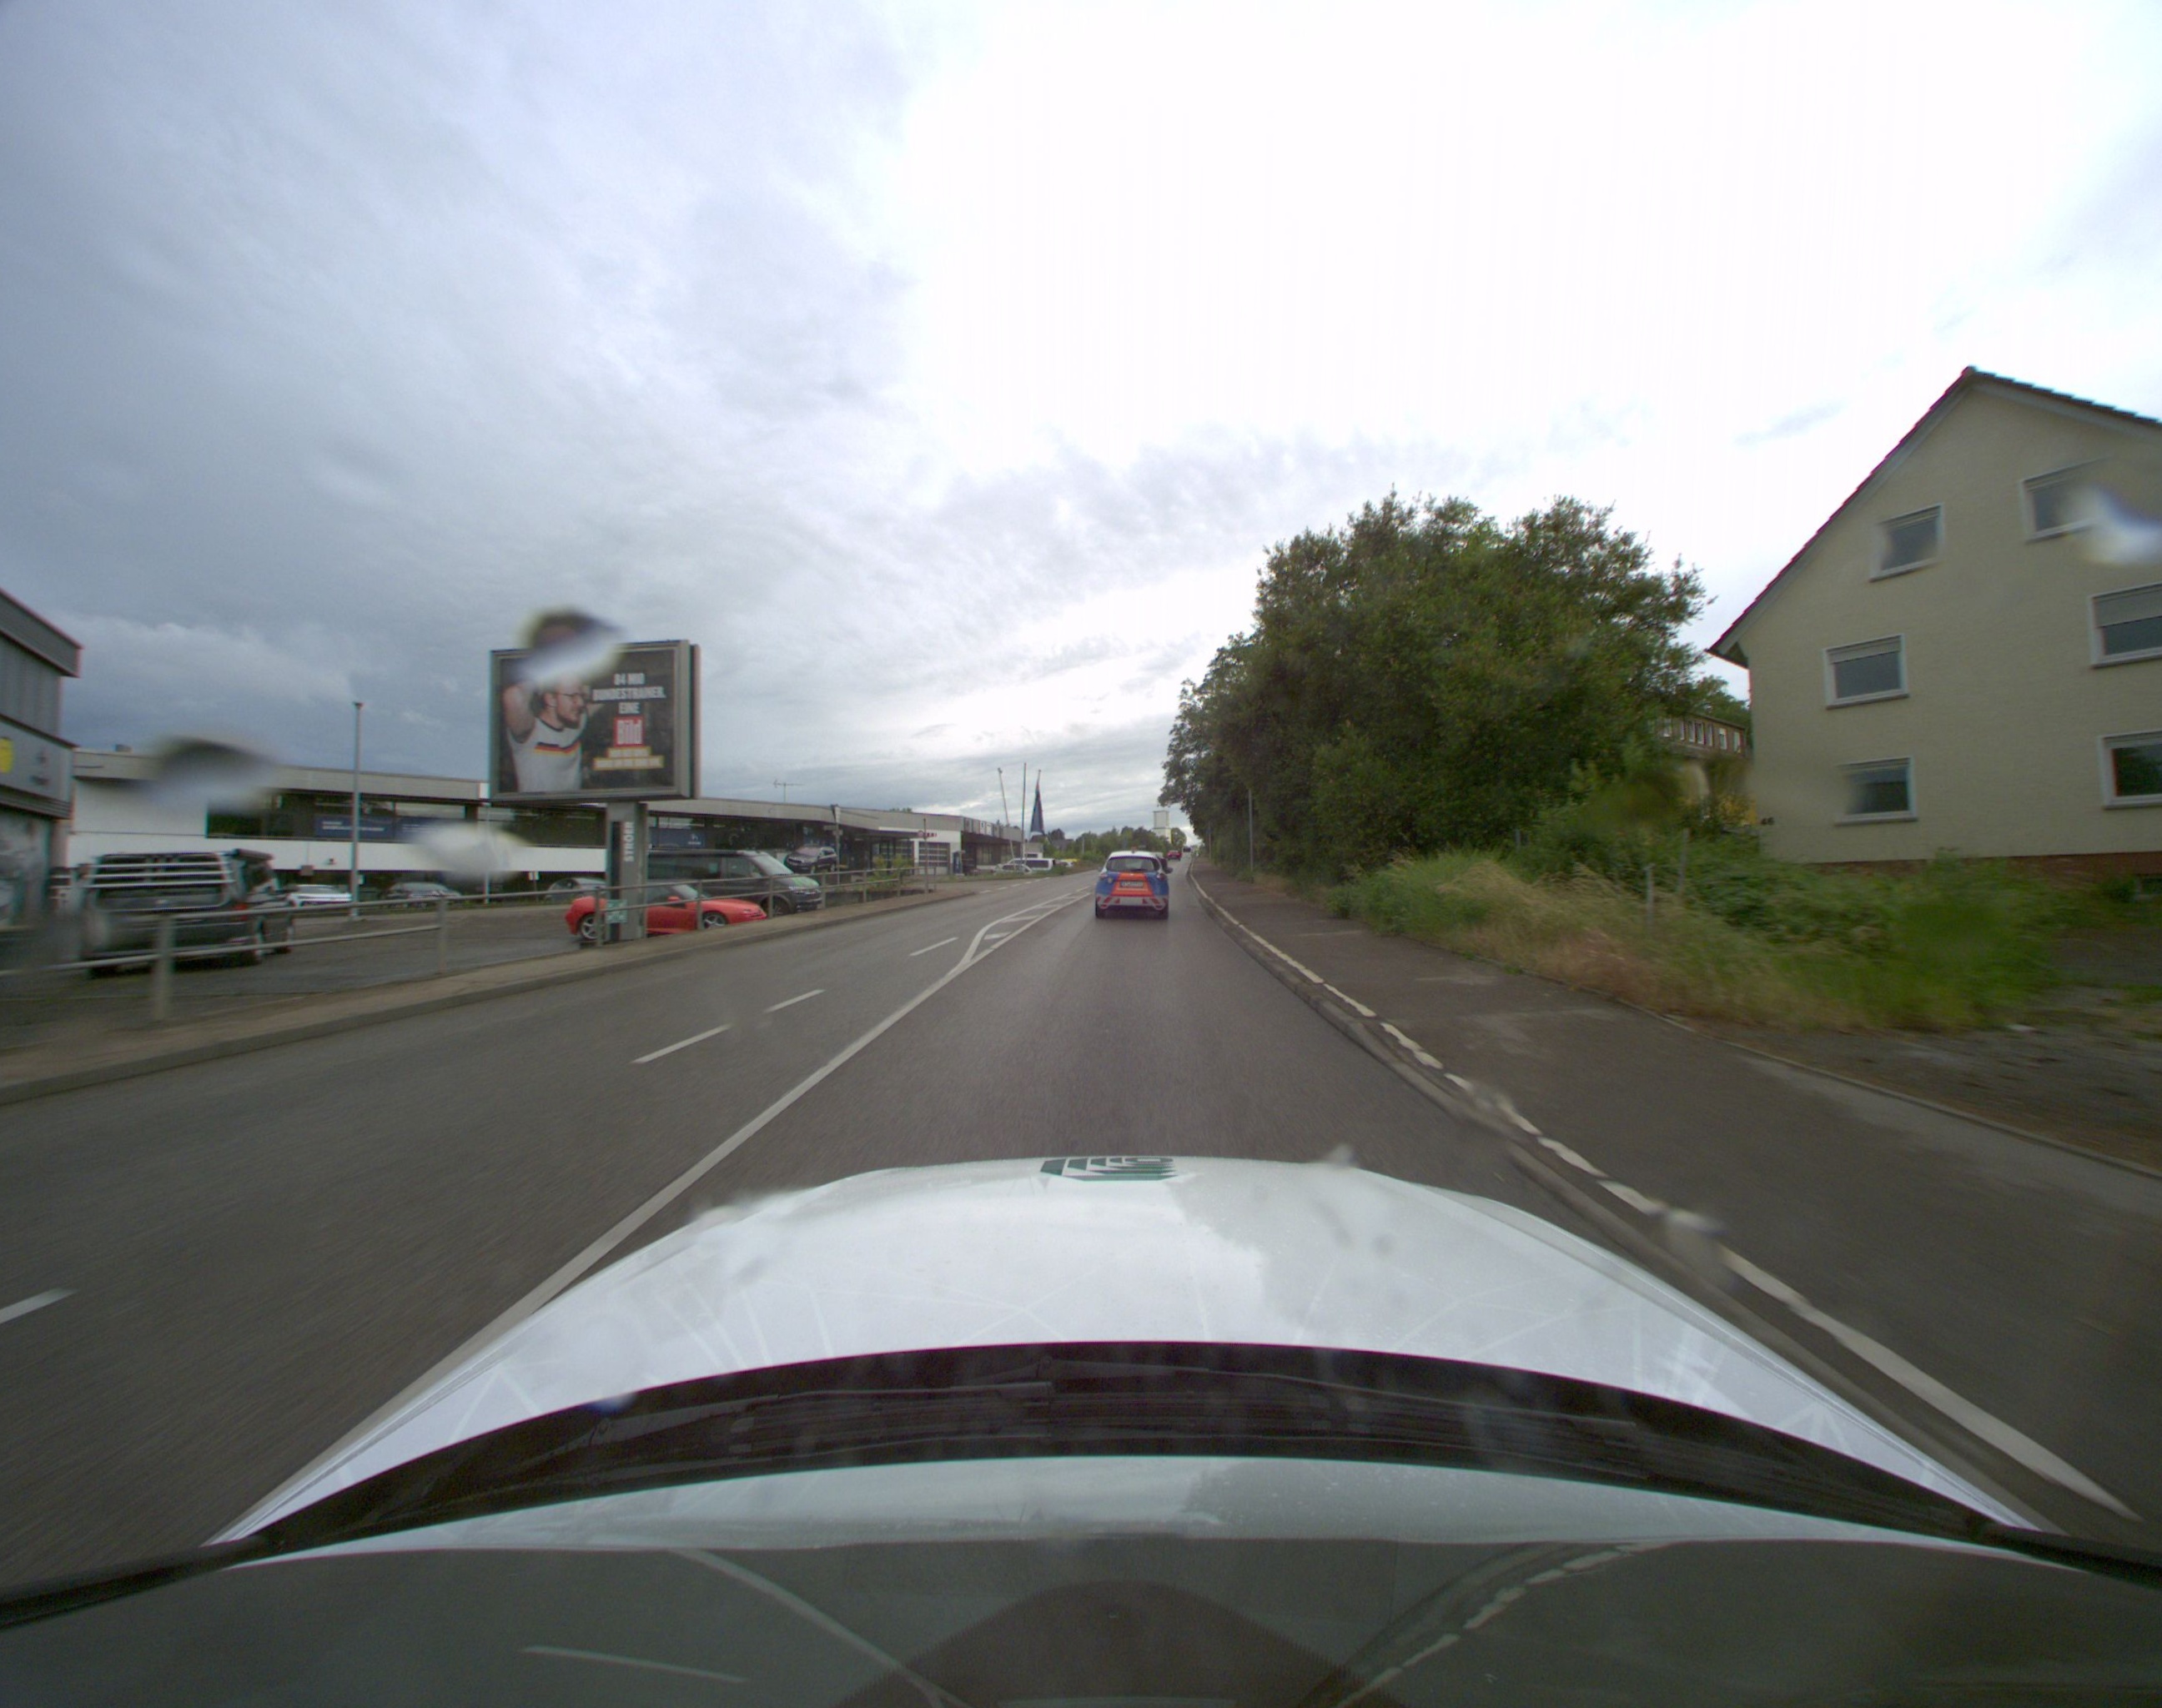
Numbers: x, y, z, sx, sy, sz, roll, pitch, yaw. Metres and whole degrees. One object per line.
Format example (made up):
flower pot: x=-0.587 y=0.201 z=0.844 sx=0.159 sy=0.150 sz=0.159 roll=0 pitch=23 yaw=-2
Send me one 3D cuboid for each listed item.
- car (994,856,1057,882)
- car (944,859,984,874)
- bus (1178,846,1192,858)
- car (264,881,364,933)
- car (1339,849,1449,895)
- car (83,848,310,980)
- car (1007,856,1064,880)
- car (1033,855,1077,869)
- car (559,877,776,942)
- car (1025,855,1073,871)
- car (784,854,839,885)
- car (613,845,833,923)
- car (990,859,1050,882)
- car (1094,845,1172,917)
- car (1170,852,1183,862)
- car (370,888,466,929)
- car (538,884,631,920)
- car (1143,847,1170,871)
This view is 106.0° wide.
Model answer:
car: x=-4.093 y=1.082 z=60.606 sx=4.390 sy=1.798 sz=1.938 roll=-2 pitch=0 yaw=6
car: x=-12.199 y=1.272 z=84.512 sx=3.970 sy=1.416 sz=1.966 roll=-2 pitch=0 yaw=41
bus: x=28.443 y=-0.511 z=223.799 sx=2.899 sy=3.169 sz=11.474 roll=-2 pitch=-1 yaw=3
car: x=-29.308 y=1.988 z=31.110 sx=3.939 sy=1.788 sz=1.832 roll=-2 pitch=0 yaw=32
car: x=10.448 y=0.580 z=27.205 sx=3.156 sy=1.384 sz=1.681 roll=-1 pitch=0 yaw=-25
car: x=-15.693 y=0.952 z=14.776 sx=2.010 sy=1.987 sz=4.821 roll=0 pitch=-1 yaw=-38
car: x=-3.670 y=1.155 z=66.256 sx=4.392 sy=1.798 sz=2.004 roll=-2 pitch=0 yaw=4
car: x=-2.488 y=0.778 z=79.188 sx=4.044 sy=1.291 sz=1.806 roll=-2 pitch=0 yaw=4
car: x=-9.473 y=1.240 z=18.935 sx=4.086 sy=1.267 sz=1.766 roll=-2 pitch=0 yaw=-6
car: x=-2.994 y=0.832 z=76.582 sx=4.207 sy=1.368 sz=1.877 roll=-2 pitch=0 yaw=4
car: x=-16.953 y=0.938 z=51.424 sx=1.391 sy=1.800 sz=4.263 roll=-2 pitch=-1 yaw=10
car: x=-9.523 y=0.783 z=21.969 sx=5.053 sy=1.870 sz=1.822 roll=-2 pitch=-1 yaw=-2
car: x=-4.314 y=1.162 z=58.010 sx=3.988 sy=1.478 sz=1.827 roll=-2 pitch=0 yaw=6
car: x=1.357 y=0.639 z=20.010 sx=1.648 sy=1.593 sz=3.576 roll=-1 pitch=-1 yaw=8
car: x=13.550 y=0.449 z=115.553 sx=1.606 sy=1.407 sz=3.502 roll=-2 pitch=-1 yaw=5
car: x=-26.582 y=2.143 z=32.644 sx=3.939 sy=1.428 sz=1.791 roll=-1 pitch=0 yaw=32
car: x=-22.002 y=2.103 z=36.081 sx=4.052 sy=1.428 sz=1.901 roll=-1 pitch=0 yaw=32
car: x=5.427 y=0.378 z=58.623 sx=1.794 sy=1.590 sz=3.566 roll=-2 pitch=-1 yaw=3
